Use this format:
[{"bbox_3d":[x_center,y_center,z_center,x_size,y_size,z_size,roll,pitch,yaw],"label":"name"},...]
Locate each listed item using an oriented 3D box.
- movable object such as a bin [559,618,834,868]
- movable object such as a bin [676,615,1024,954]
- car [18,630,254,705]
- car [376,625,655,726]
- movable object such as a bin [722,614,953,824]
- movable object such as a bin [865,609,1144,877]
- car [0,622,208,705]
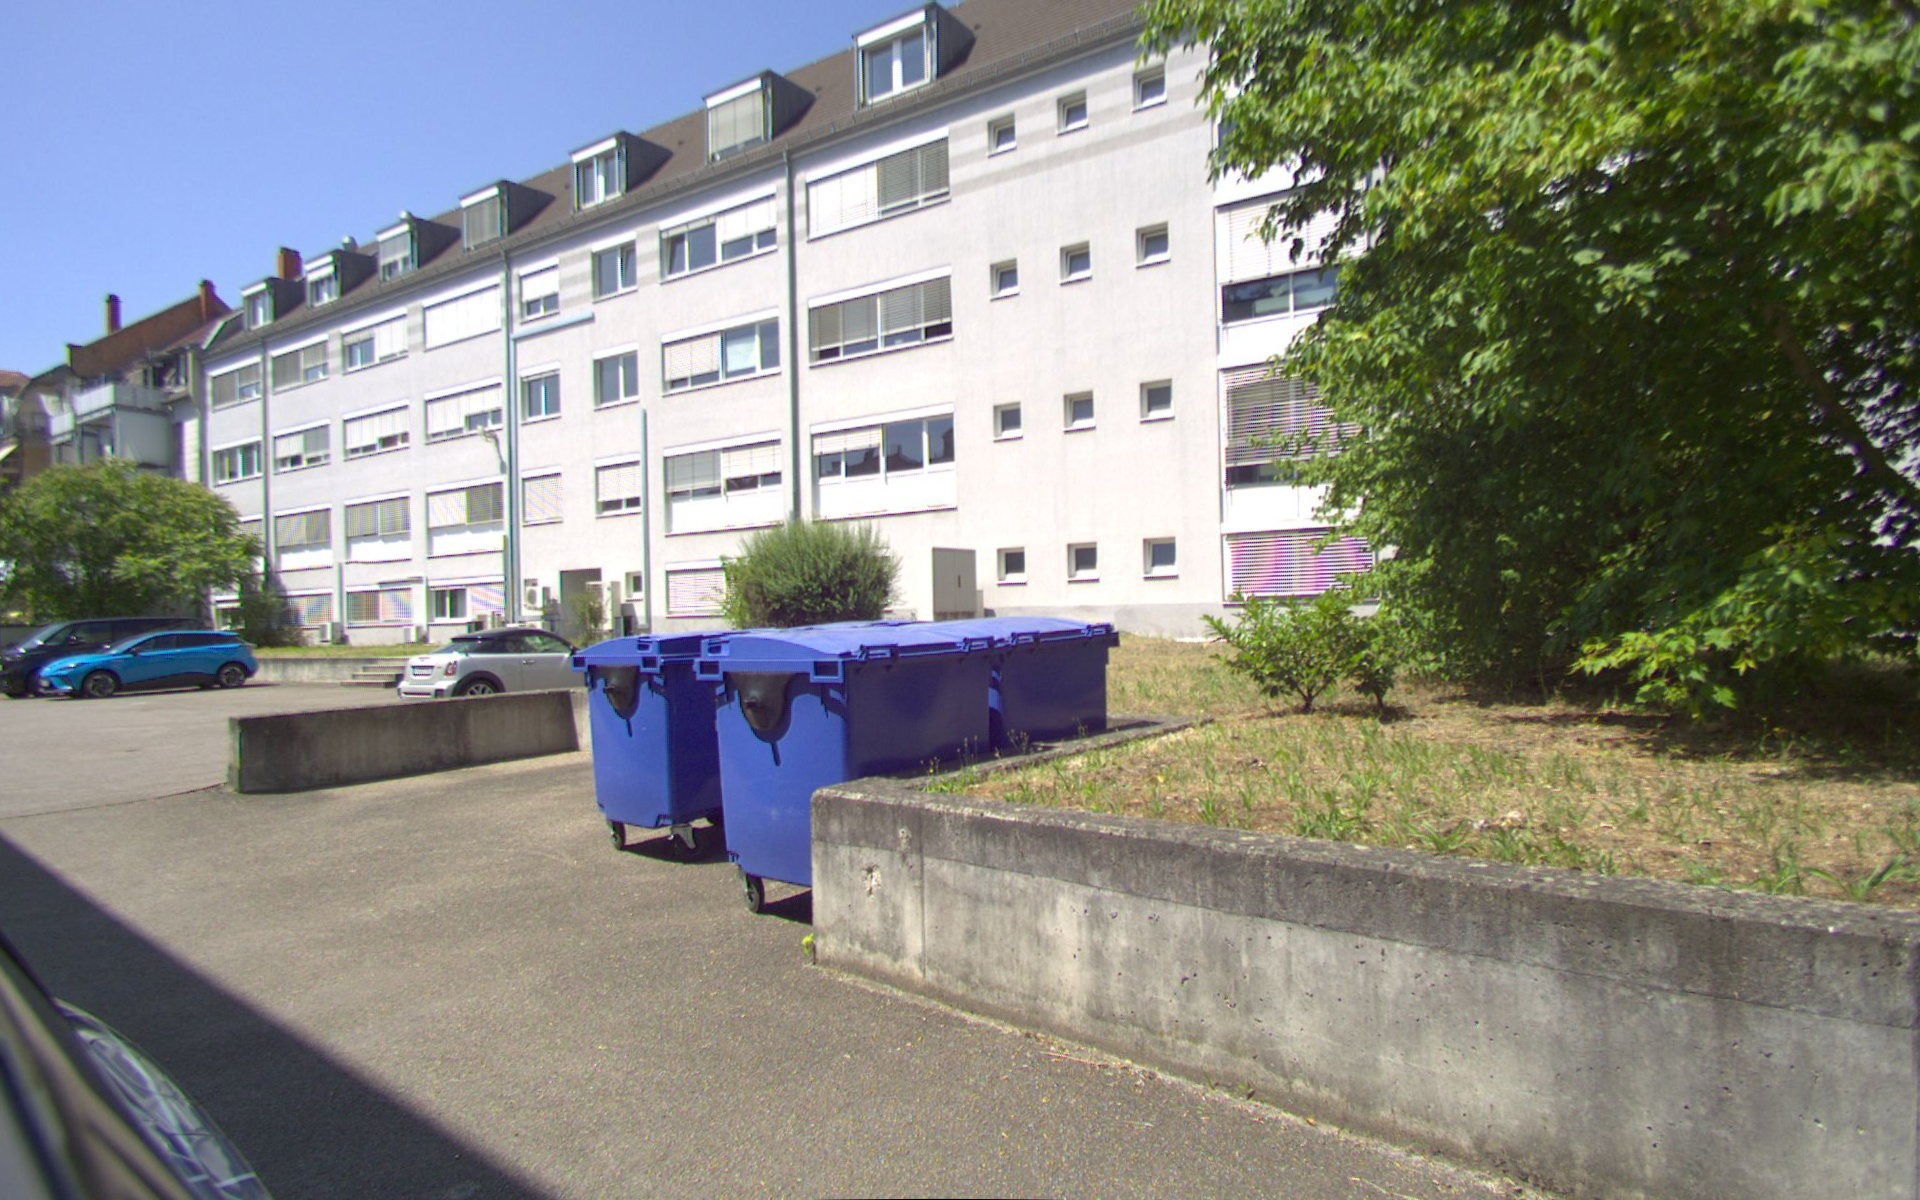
[{"bbox_3d":[-1.637,0.808,6.363,1.102,1.338,1.242,-3,-1,38],"label":"movable object such as a bin"},{"bbox_3d":[-0.511,0.768,4.910,1.102,1.338,1.242,-3,-1,38],"label":"movable object such as a bin"},{"bbox_3d":[-20.053,1.589,24.799,1.854,1.565,4.123,-2,-1,33],"label":"car"},{"bbox_3d":[-7.189,1.159,16.736,1.707,1.447,3.954,-2,-2,34],"label":"car"},{"bbox_3d":[-0.884,0.800,7.421,1.102,1.338,1.242,-3,-1,38],"label":"movable object such as a bin"},{"bbox_3d":[0.282,0.749,5.970,1.102,1.338,1.242,-3,-1,38],"label":"movable object such as a bin"},{"bbox_3d":[-22.367,1.567,26.091,1.995,1.846,4.399,-2,-1,35],"label":"car"}]
